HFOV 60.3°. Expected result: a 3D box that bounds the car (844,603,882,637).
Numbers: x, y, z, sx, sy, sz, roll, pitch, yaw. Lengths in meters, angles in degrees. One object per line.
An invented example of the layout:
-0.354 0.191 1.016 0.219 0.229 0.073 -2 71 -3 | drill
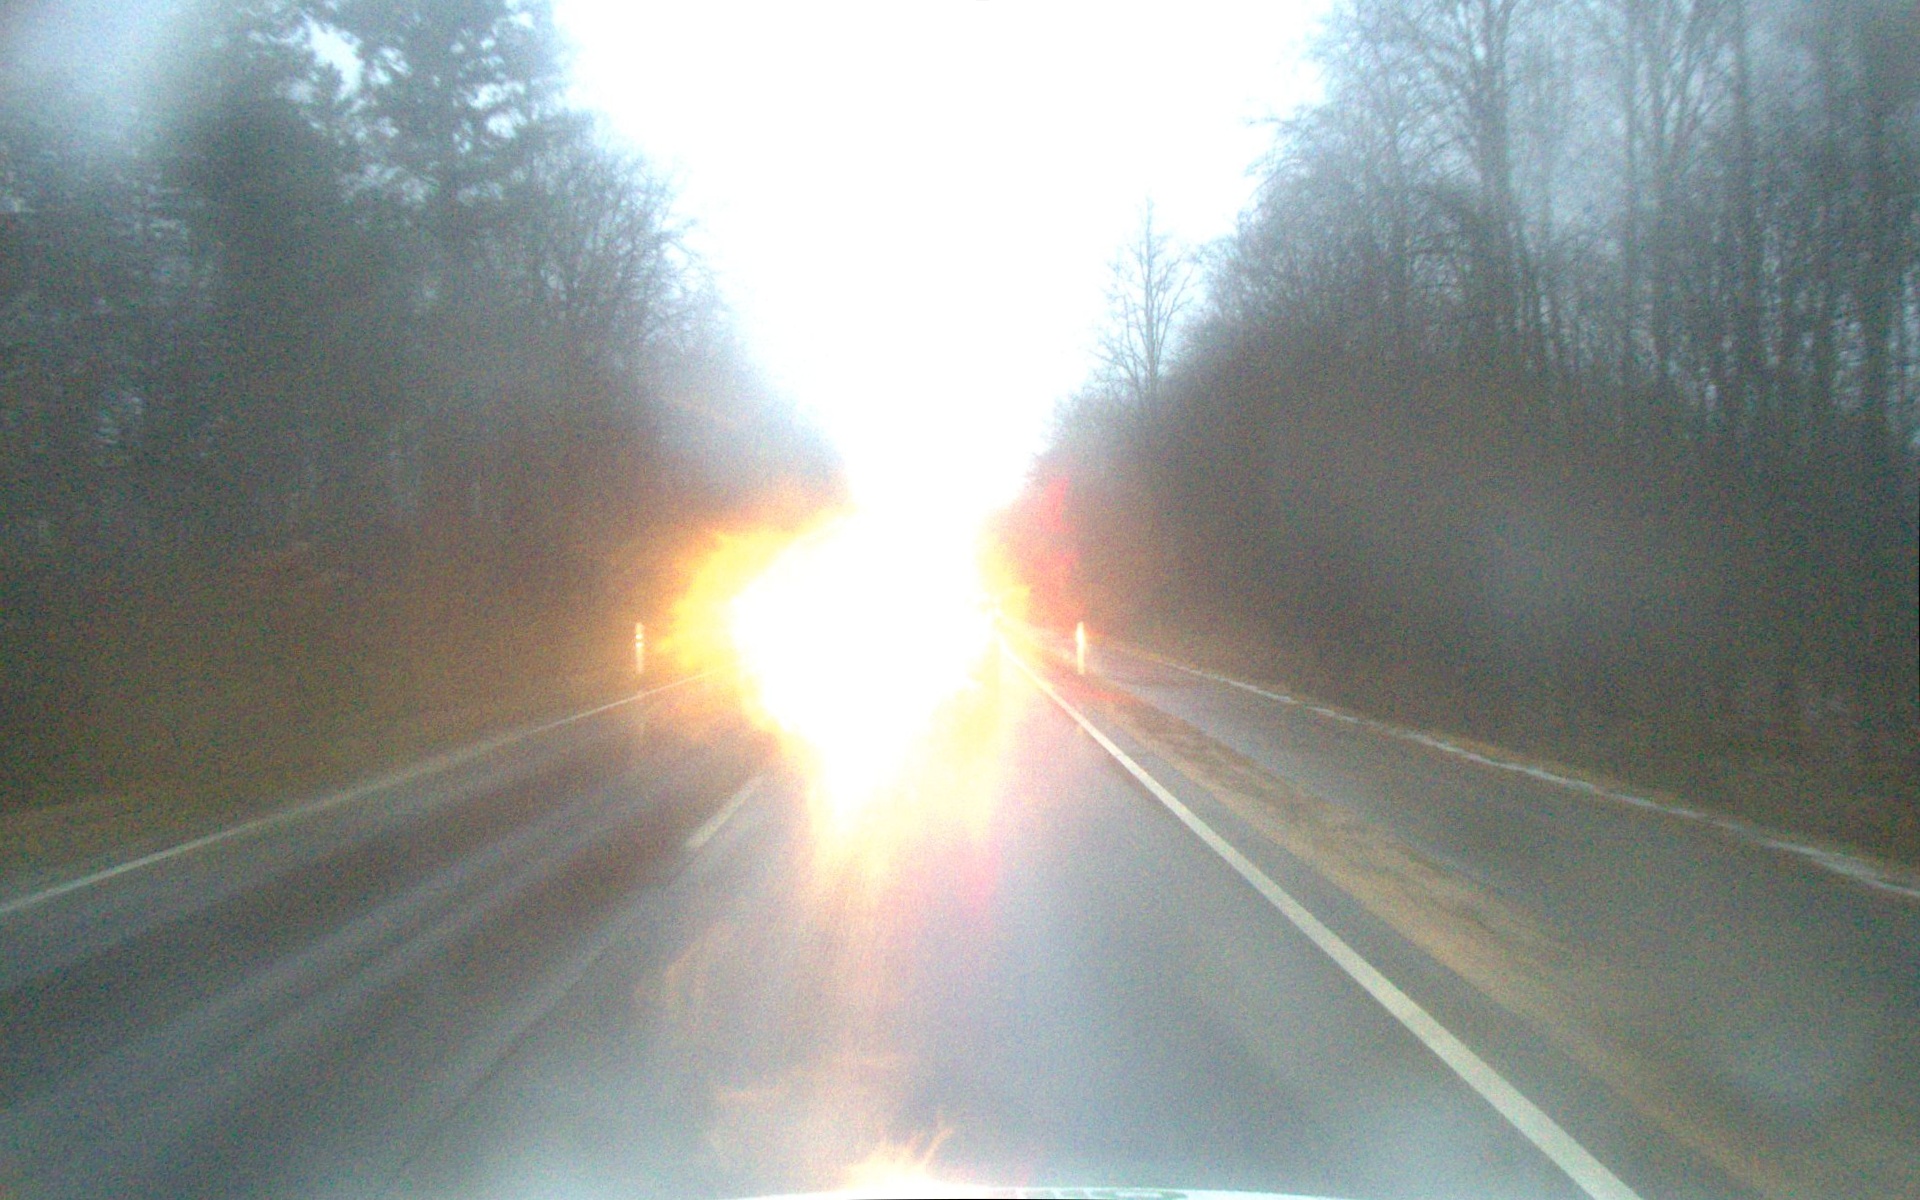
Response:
-4.288 0.872 73.386 1.482 1.438 3.660 -1 0 0 | car
